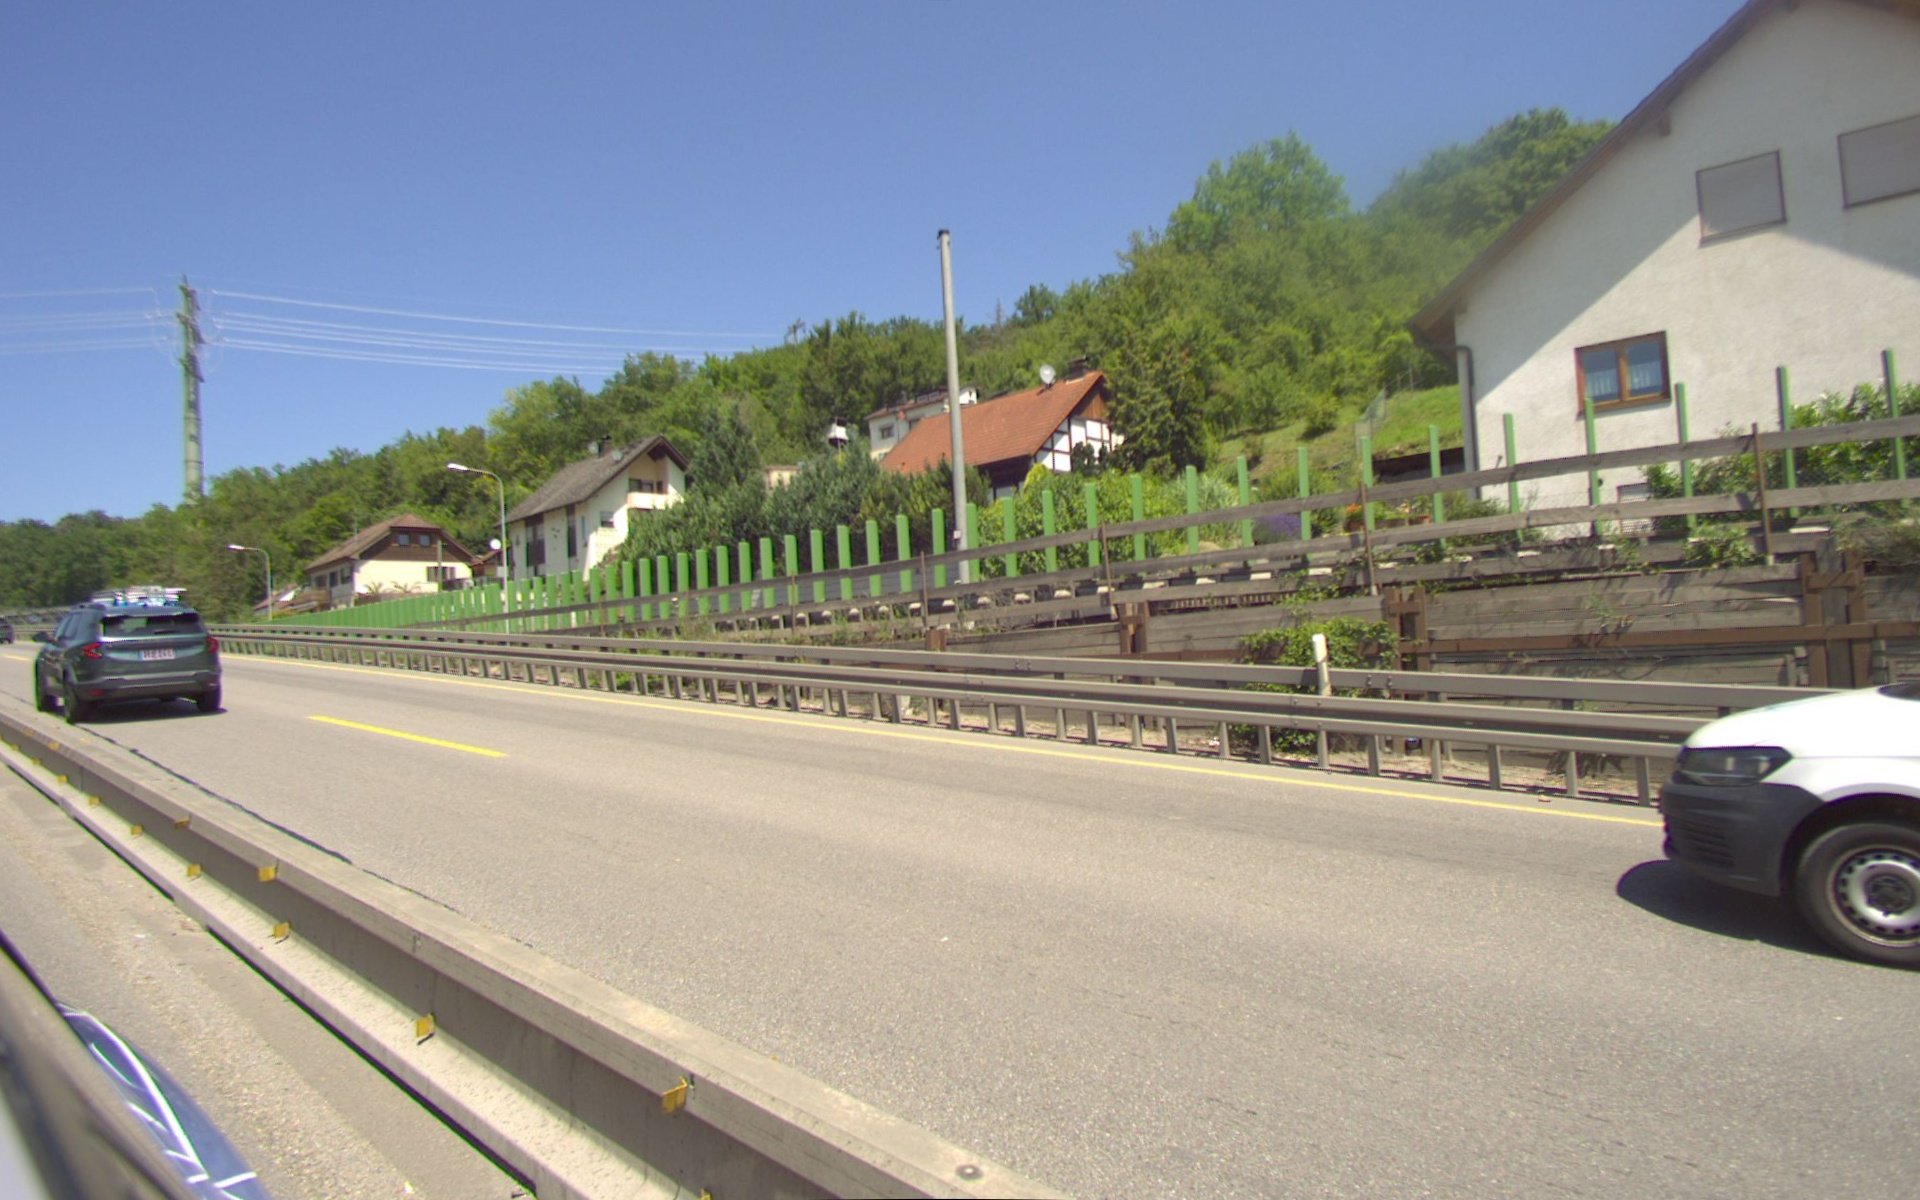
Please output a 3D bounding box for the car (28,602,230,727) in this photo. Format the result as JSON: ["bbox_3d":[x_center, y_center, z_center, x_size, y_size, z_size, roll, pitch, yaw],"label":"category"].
[{"bbox_3d":[-12.773,0.901,15.468,4.098,1.646,1.756,-2,-1,41],"label":"car"}]

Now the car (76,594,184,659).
[{"bbox_3d":[-27.239,0.854,33.148,5.239,1.940,1.807,-2,0,40],"label":"car"}]

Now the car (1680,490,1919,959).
[{"bbox_3d":[5.505,0.481,3.517,4.751,1.847,1.579,-1,-1,42],"label":"car"}]

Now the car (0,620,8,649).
[{"bbox_3d":[-50.338,1.806,51.950,4.051,1.453,1.731,-1,1,41],"label":"car"}]
